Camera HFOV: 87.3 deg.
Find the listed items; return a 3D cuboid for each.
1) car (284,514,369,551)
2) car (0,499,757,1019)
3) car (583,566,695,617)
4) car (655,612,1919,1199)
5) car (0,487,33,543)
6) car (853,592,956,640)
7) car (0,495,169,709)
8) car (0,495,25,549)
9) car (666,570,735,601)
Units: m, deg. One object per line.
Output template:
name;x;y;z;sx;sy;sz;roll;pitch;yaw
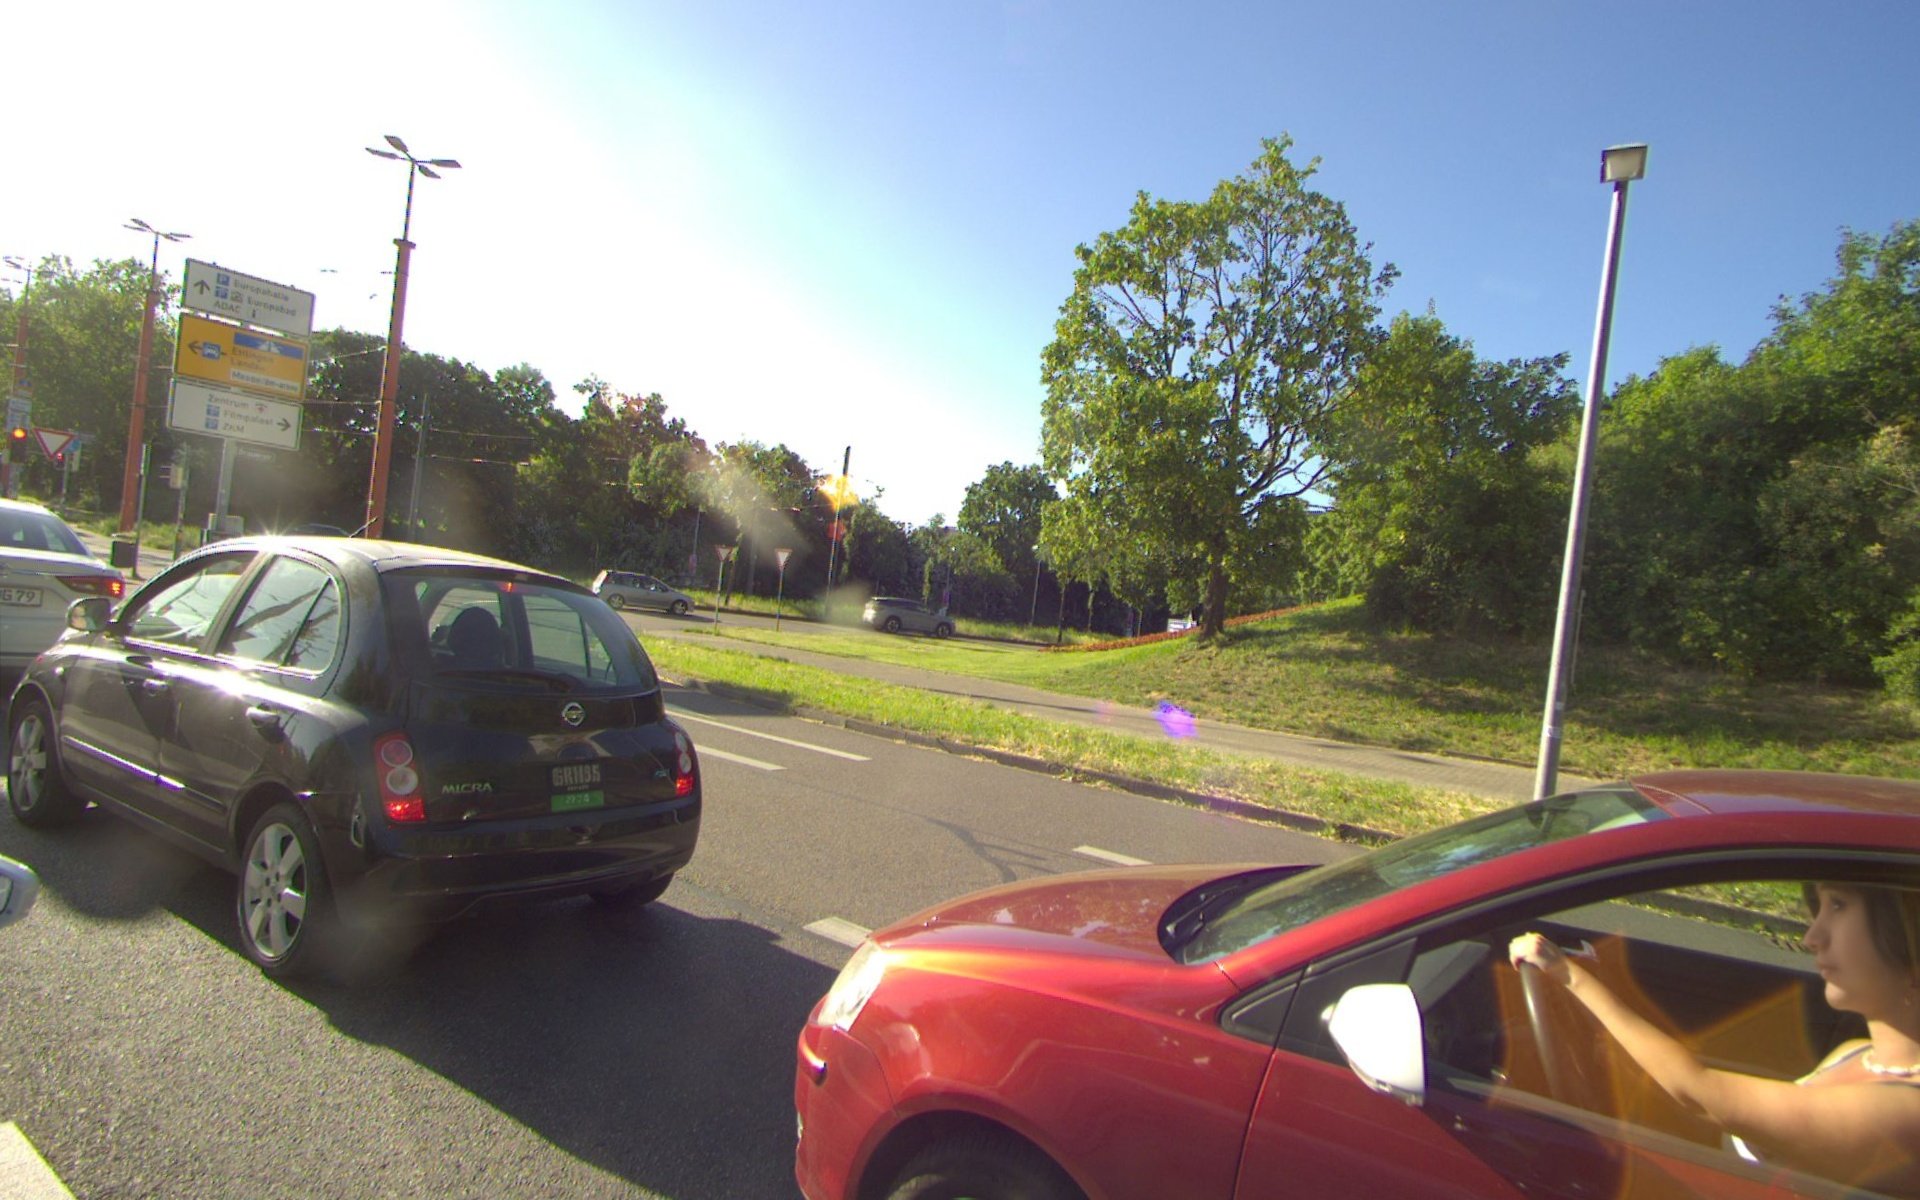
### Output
car;-35.171;-3.729;55.874;3.774;1.419;1.639;9;-1;-38
car;-2.802;0.467;4.619;3.385;1.457;1.579;6;-2;32
car;-12.509;-0.318;39.248;3.802;1.458;1.644;8;-1;-31
car;1.340;1.003;1.863;3.629;1.477;1.579;6;-2;32
car;-32.265;-2.981;31.510;4.290;1.712;1.646;8;-1;-27
car;-2.655;0.786;48.672;4.592;1.666;1.645;8;-1;-29
car;-8.374;-0.175;8.074;4.256;1.457;1.802;6;-2;33
car;-30.150;-2.590;28.784;4.590;1.538;1.643;8;-1;-31
car;-16.502;-0.911;64.069;3.774;1.419;1.639;9;-1;-38
